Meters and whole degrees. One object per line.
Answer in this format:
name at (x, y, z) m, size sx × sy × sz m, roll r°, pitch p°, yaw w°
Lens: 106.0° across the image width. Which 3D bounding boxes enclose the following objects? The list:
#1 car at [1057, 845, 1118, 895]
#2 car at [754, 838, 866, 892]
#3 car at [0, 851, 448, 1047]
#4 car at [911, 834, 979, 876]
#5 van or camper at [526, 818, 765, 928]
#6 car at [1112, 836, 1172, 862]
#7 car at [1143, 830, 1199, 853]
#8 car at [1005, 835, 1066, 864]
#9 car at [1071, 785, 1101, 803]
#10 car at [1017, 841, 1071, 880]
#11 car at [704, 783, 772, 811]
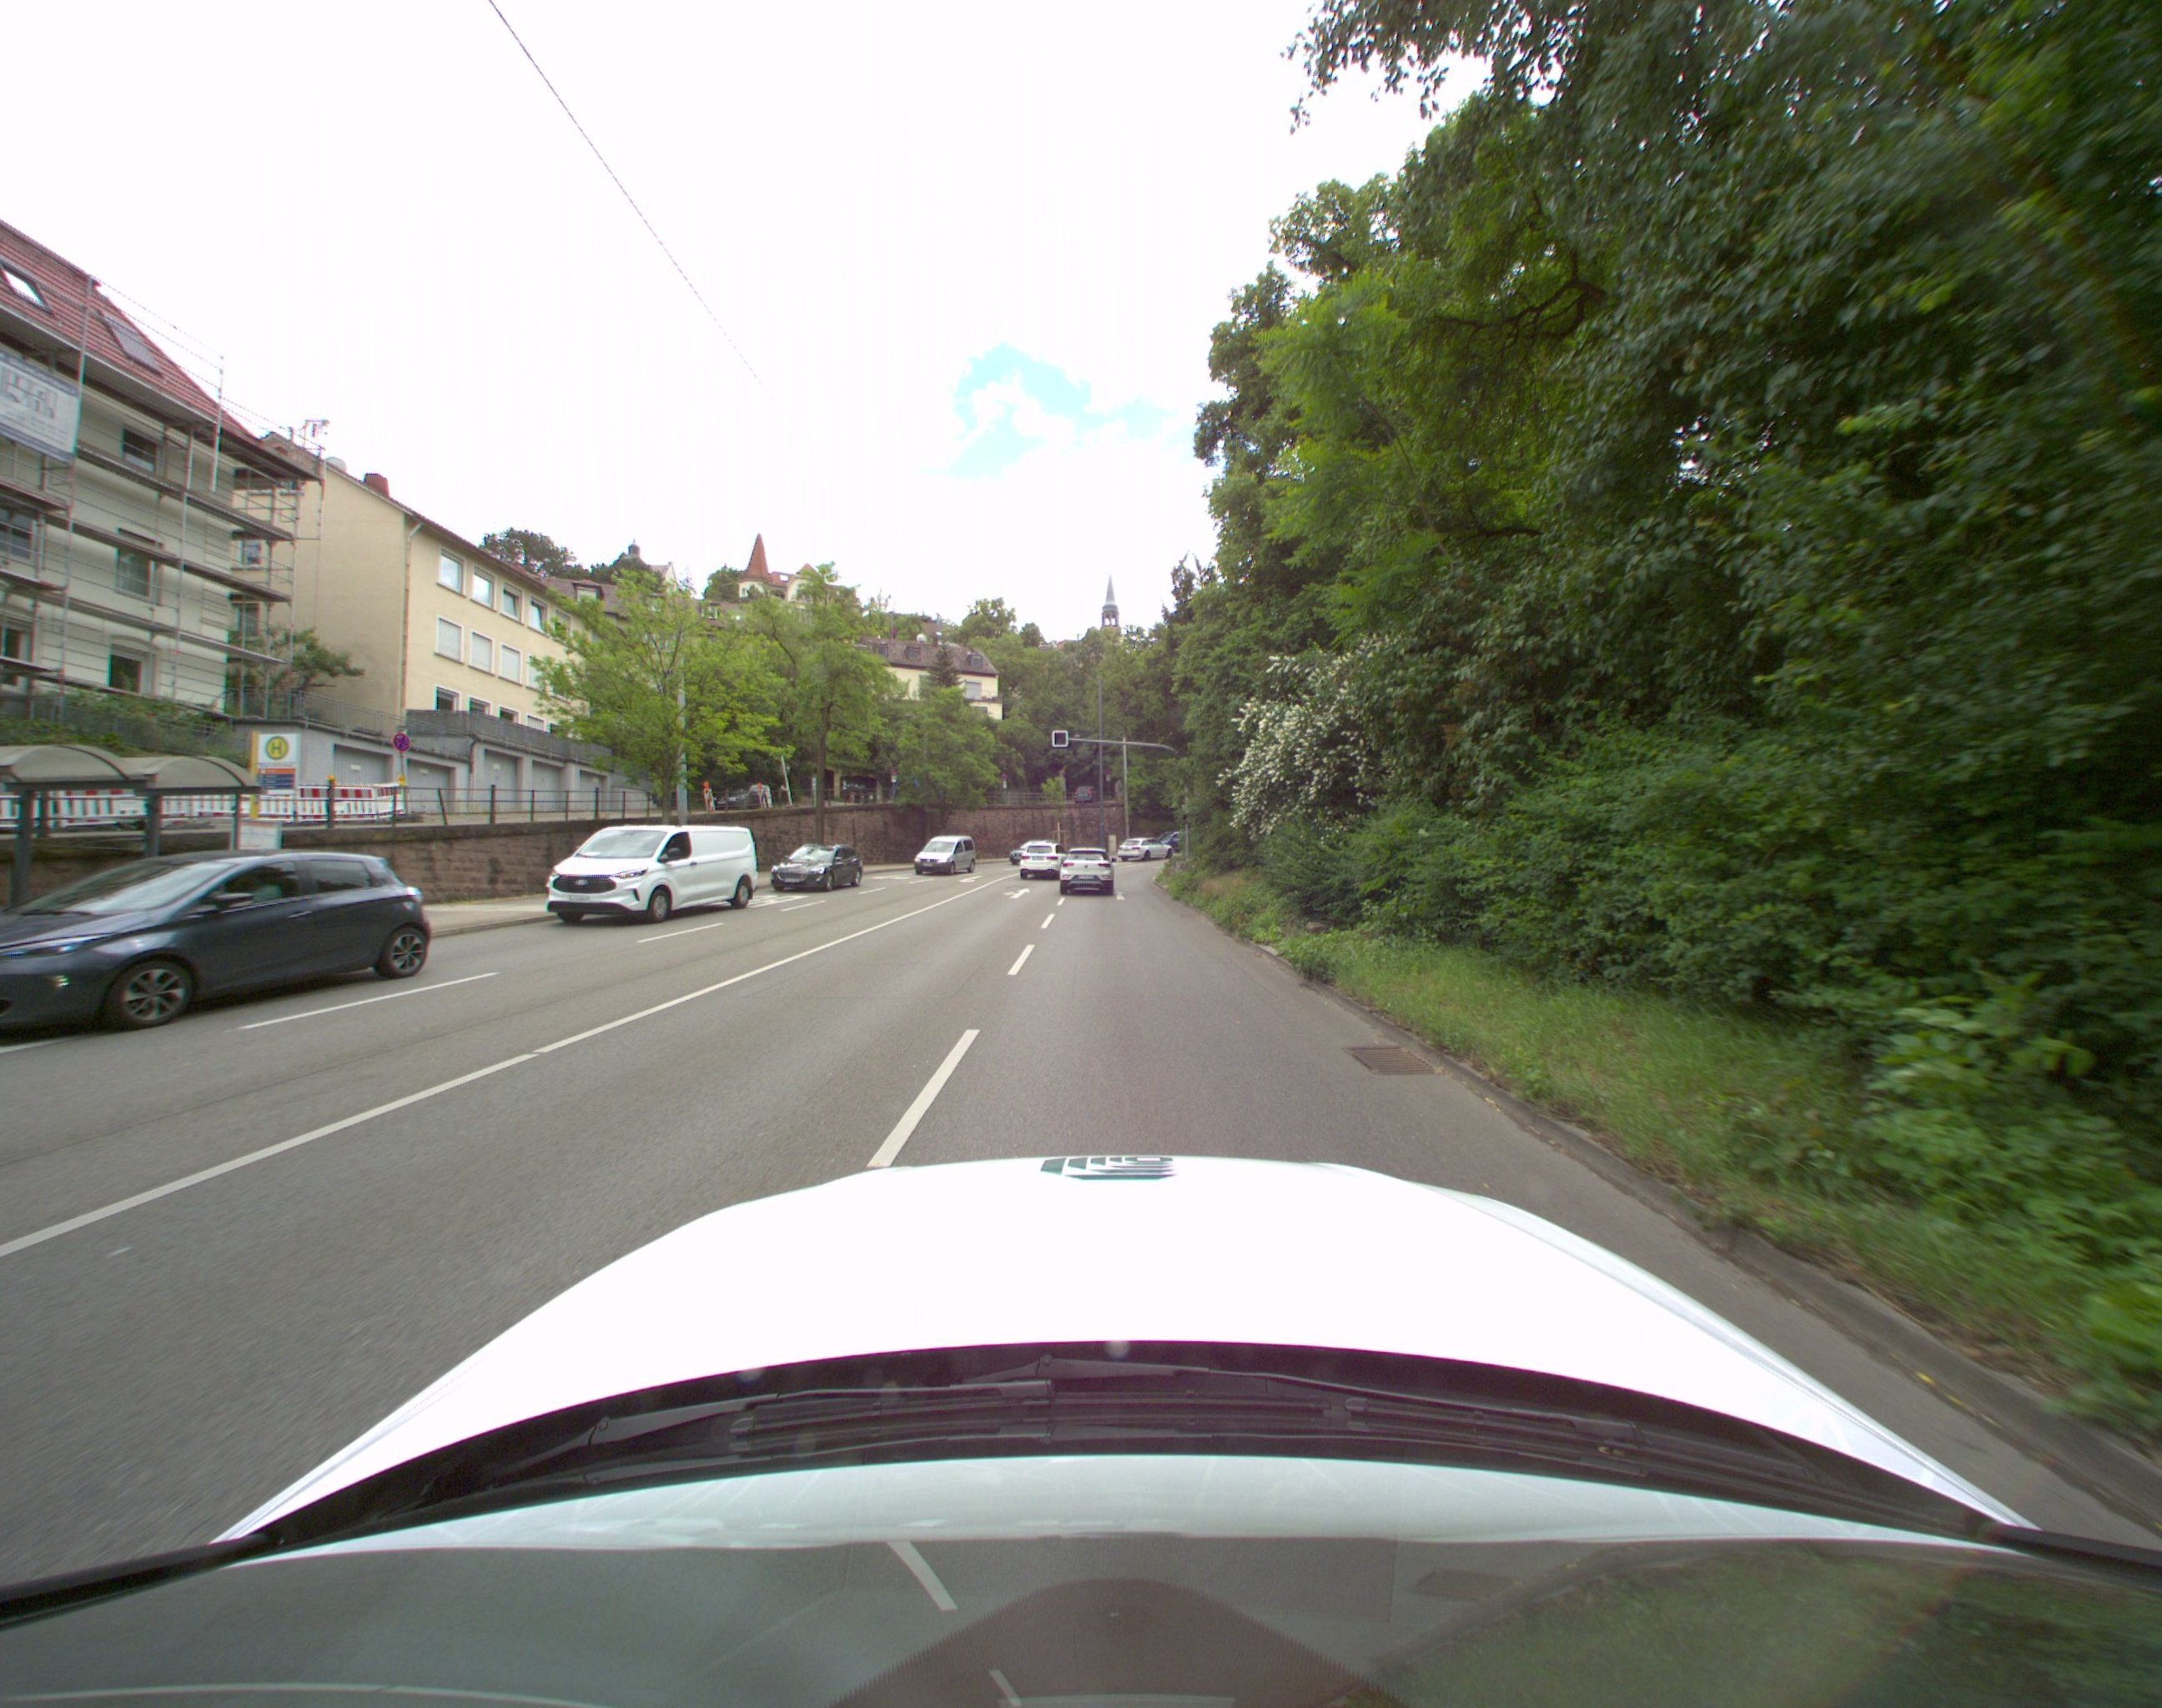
car at (0.151, 0.504, 28.088) m, size 1.860 × 1.556 × 3.890 m, roll -1°, pitch 0°, yaw -3°
car at (-8.876, 0.312, 27.144) m, size 1.984 × 1.618 × 4.334 m, roll 1°, pitch 1°, yaw 4°
car at (-9.104, 0.739, 8.379) m, size 1.986 × 1.520 × 3.992 m, roll 0°, pitch 0°, yaw 1°
car at (-6.466, -0.020, 39.129) m, size 1.934 × 1.798 × 4.297 m, roll 1°, pitch 2°, yaw 8°
van or camper at (-9.170, 0.333, 17.897) m, size 1.985 × 2.013 × 5.566 m, roll -1°, pitch 0°, yaw 3°
car at (4.052, -0.342, 53.266) m, size 2.226 × 1.519 × 4.335 m, roll -2°, pitch 0°, yaw 30°
car at (6.971, -0.966, 62.691) m, size 4.019 × 1.684 × 1.977 m, roll -2°, pitch 0°, yaw -38°
car at (-2.733, -0.324, 49.841) m, size 1.928 × 1.693 × 4.311 m, roll 1°, pitch 2°, yaw 25°
car at (0.463, -5.522, 74.768) m, size 1.980 × 1.485 × 4.014 m, roll -1°, pitch 4°, yaw 11°
car at (-1.654, 0.281, 37.778) m, size 1.868 × 1.652 × 4.347 m, roll 2°, pitch 0°, yaw 5°
car at (-18.777, -3.097, 44.730) m, size 1.540 × 1.279 × 3.612 m, roll -3°, pitch 0°, yaw 12°
